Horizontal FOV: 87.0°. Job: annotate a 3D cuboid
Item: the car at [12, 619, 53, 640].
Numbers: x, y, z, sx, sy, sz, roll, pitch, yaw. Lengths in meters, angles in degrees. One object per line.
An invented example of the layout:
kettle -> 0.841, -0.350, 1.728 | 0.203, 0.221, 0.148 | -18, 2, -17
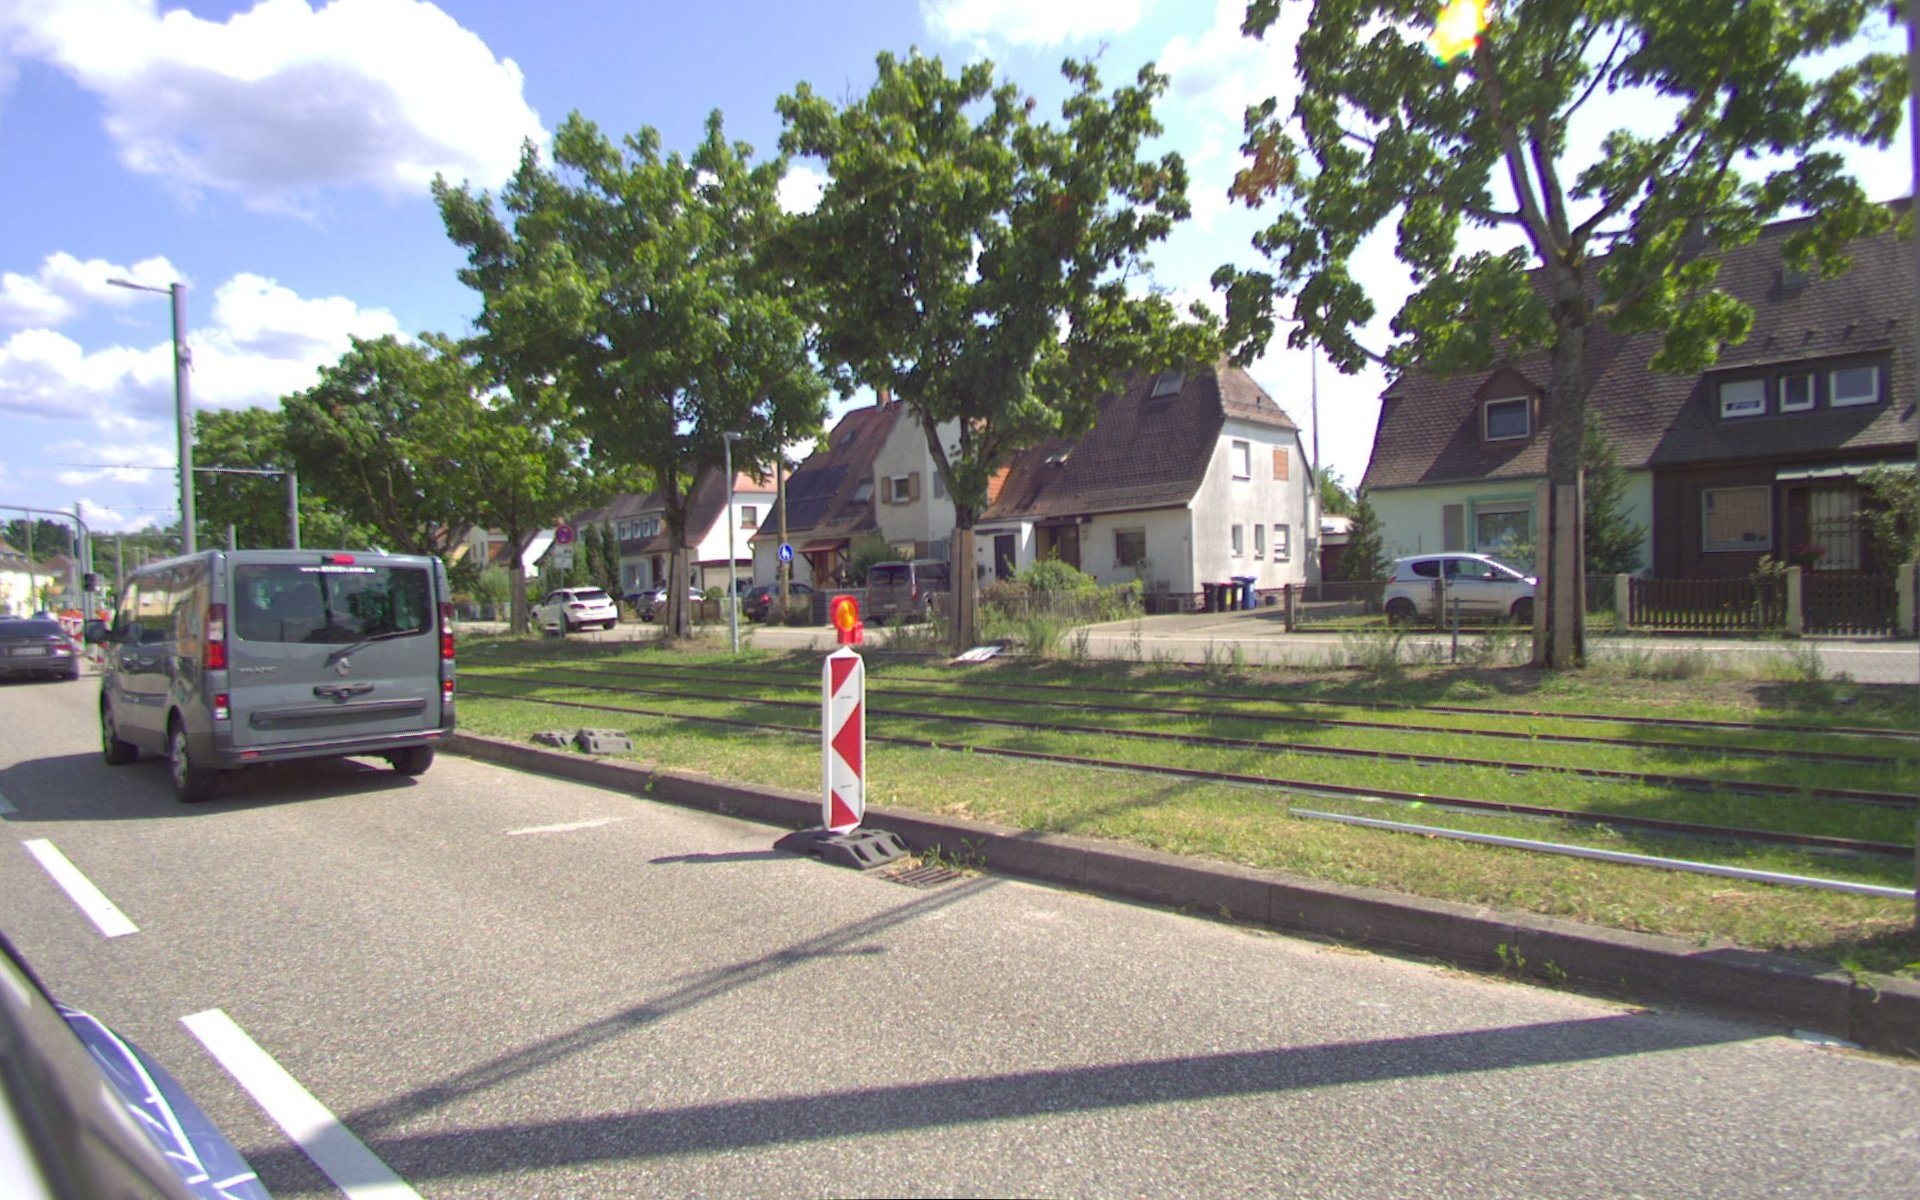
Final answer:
car -> -78.728, 2.479, 85.924 | 1.850, 1.564, 4.998 | -2, 1, -35

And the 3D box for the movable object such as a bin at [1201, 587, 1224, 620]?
movable object such as a bin -> 7.552, 0.100, 30.311 | 0.500, 0.984, 0.447 | -1, 1, 43

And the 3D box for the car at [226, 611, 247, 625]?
car -> -84.763, 2.073, 118.591 | 1.702, 1.574, 4.554 | -2, 1, -33

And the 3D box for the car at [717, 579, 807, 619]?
car -> -9.513, -0.060, 48.791 | 1.798, 1.750, 3.945 | -1, 2, 42

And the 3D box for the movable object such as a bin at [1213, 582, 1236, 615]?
movable object such as a bin -> 7.984, -0.035, 30.570 | 0.500, 0.984, 0.447 | -1, 1, 43

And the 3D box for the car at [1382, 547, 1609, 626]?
car -> 11.352, -0.257, 21.572 | 4.039, 1.529, 1.712 | -1, 1, 38

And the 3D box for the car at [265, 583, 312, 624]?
car -> -46.024, 0.233, 69.351 | 2.126, 2.688, 4.924 | -2, 1, -39

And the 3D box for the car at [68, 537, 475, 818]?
car -> -6.753, 0.580, 9.621 | 5.290, 1.981, 1.935 | -1, 0, 41

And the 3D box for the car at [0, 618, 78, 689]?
car -> -20.995, 1.149, 22.387 | 4.120, 1.399, 1.706 | -1, 1, 42

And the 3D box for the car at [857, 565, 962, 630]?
car -> -1.606, -0.141, 33.697 | 1.930, 1.910, 3.867 | -2, 2, 23

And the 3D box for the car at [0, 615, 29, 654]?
car -> -37.446, 1.339, 39.205 | 3.958, 1.460, 1.647 | -1, -2, 42

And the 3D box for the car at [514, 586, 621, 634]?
car -> -15.657, 0.406, 40.242 | 5.082, 1.781, 1.861 | -1, 1, 42

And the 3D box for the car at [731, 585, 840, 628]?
car -> -6.658, 0.223, 38.884 | 1.735, 1.468, 3.842 | -1, 1, 42

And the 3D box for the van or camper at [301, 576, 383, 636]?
van or camper -> -33.187, 0.309, 54.227 | 2.347, 2.992, 7.304 | -2, 1, -42

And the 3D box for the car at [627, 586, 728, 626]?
car -> -12.604, 0.252, 45.268 | 1.873, 1.541, 3.945 | -1, 2, 42
